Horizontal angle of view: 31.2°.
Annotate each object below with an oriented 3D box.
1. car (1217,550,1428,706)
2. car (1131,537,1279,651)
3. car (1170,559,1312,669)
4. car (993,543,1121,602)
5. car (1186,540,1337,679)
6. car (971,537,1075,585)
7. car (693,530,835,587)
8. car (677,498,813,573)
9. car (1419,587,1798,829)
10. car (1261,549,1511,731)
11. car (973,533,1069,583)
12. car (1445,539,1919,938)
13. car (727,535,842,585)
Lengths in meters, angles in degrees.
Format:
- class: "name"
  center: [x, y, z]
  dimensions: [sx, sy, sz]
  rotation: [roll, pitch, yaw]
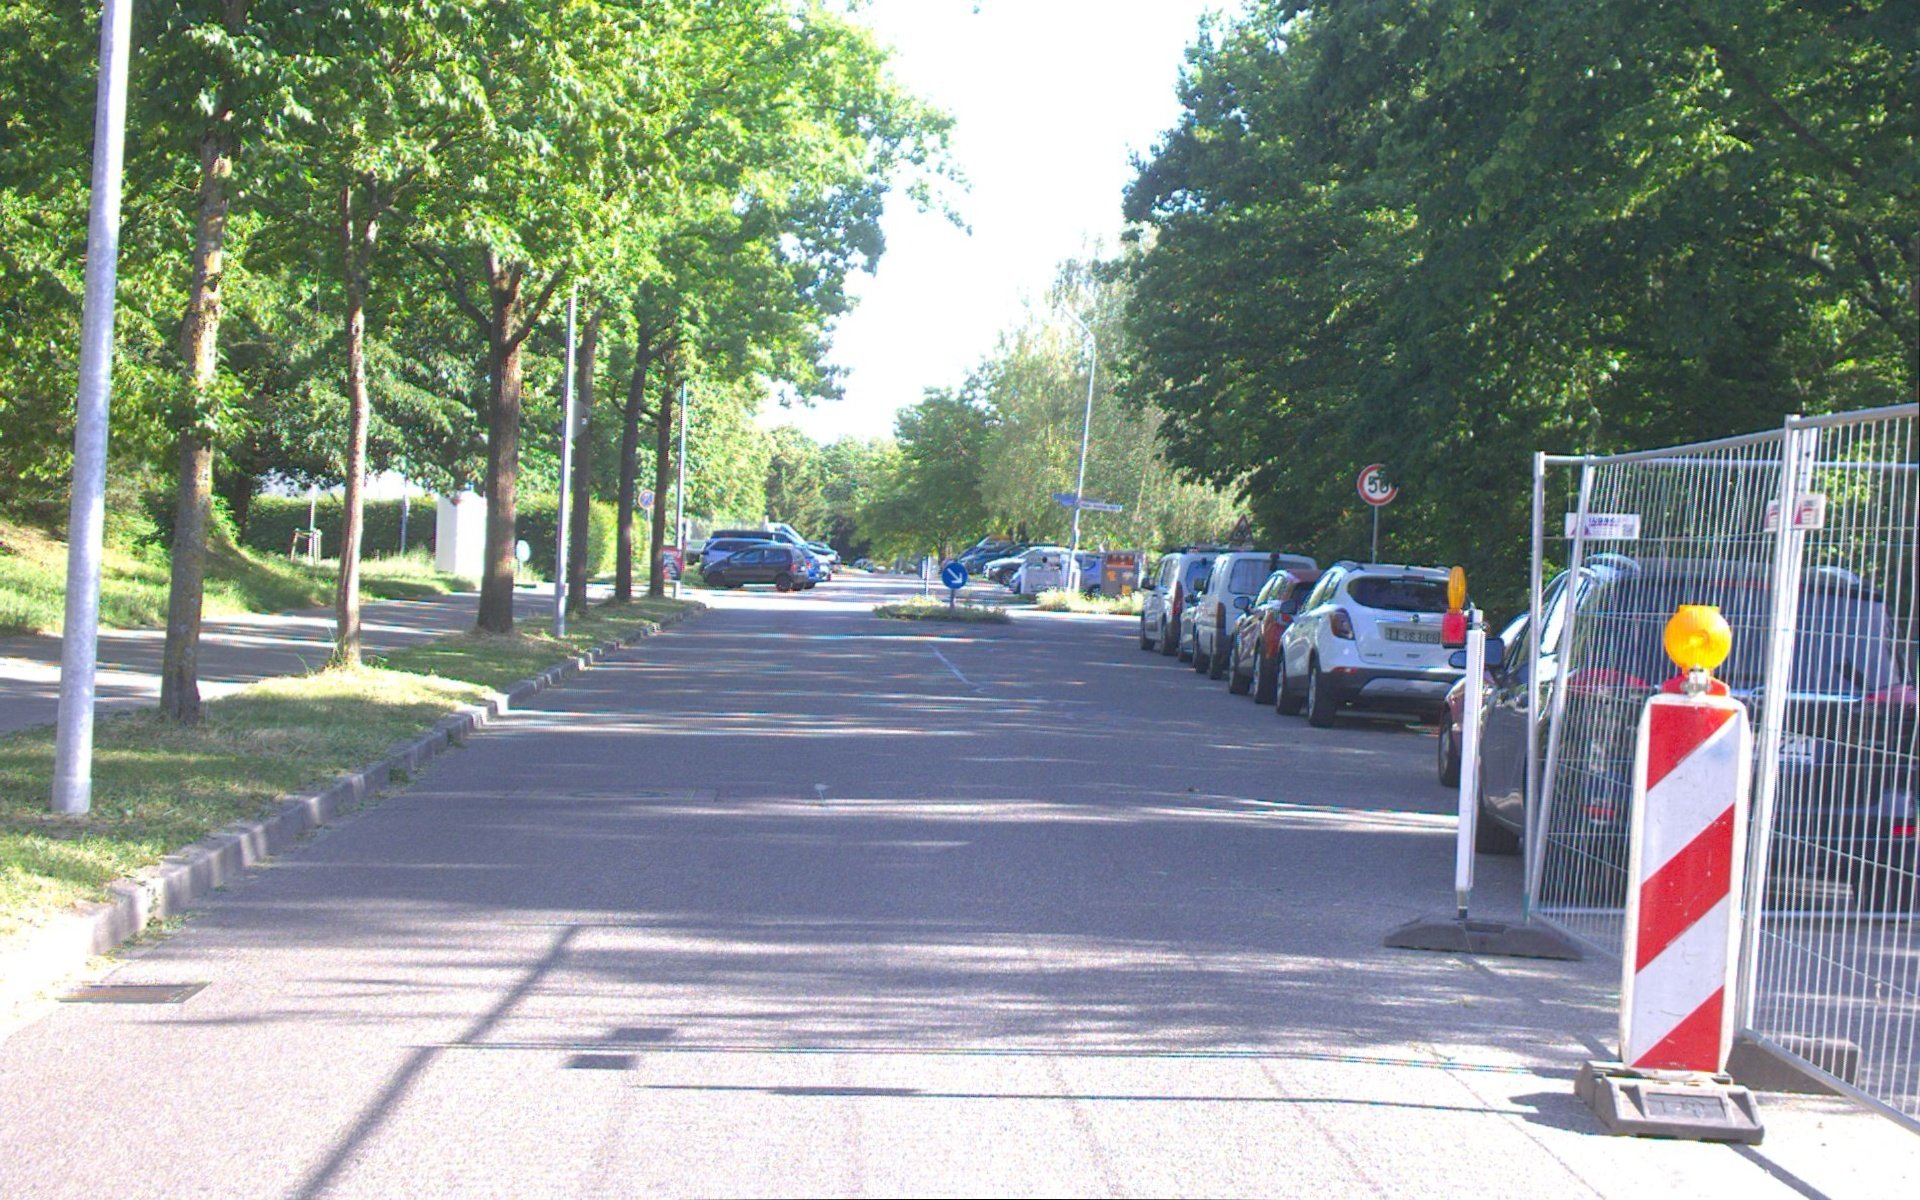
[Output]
- class: "car"
  center: [4.208, 0.287, 40.496]
  dimensions: [1.775, 1.616, 4.065]
  rotation: [4, 1, -2]
- class: "car"
  center: [4.201, -0.143, 59.638]
  dimensions: [1.790, 1.779, 4.558]
  rotation: [4, 1, -4]
- class: "car"
  center: [4.337, 0.184, 53.497]
  dimensions: [1.691, 1.507, 4.207]
  rotation: [4, 1, -1]
- class: "car"
  center: [3.097, -0.865, 109.029]
  dimensions: [3.839, 1.571, 1.688]
  rotation: [4, 1, 6]
- class: "car"
  center: [4.207, 0.104, 48.403]
  dimensions: [1.623, 1.767, 3.669]
  rotation: [4, 1, -1]
- class: "car"
  center: [2.477, -1.518, 134.455]
  dimensions: [3.839, 1.571, 1.688]
  rotation: [4, 1, 6]
- class: "car"
  center: [-6.456, -1.362, 113.438]
  dimensions: [4.319, 1.571, 2.045]
  rotation: [4, 1, 6]
- class: "car"
  center: [-8.693, -2.605, 138.653]
  dimensions: [5.199, 2.612, 2.294]
  rotation: [4, 1, -6]
- class: "car"
  center: [4.392, 0.680, 23.898]
  dimensions: [1.661, 1.371, 4.155]
  rotation: [4, 1, -1]
- class: "car"
  center: [4.271, 0.359, 35.082]
  dimensions: [1.775, 1.616, 4.065]
  rotation: [4, 1, -2]
- class: "car"
  center: [2.559, -1.767, 143.787]
  dimensions: [3.839, 1.789, 1.688]
  rotation: [4, 1, 4]
- class: "car"
  center: [3.630, 0.592, 17.447]
  dimensions: [1.810, 1.645, 4.420]
  rotation: [4, 1, 3]
- class: "car"
  center: [-6.609, -1.498, 129.743]
  dimensions: [4.107, 1.571, 1.958]
  rotation: [4, 1, 1]
